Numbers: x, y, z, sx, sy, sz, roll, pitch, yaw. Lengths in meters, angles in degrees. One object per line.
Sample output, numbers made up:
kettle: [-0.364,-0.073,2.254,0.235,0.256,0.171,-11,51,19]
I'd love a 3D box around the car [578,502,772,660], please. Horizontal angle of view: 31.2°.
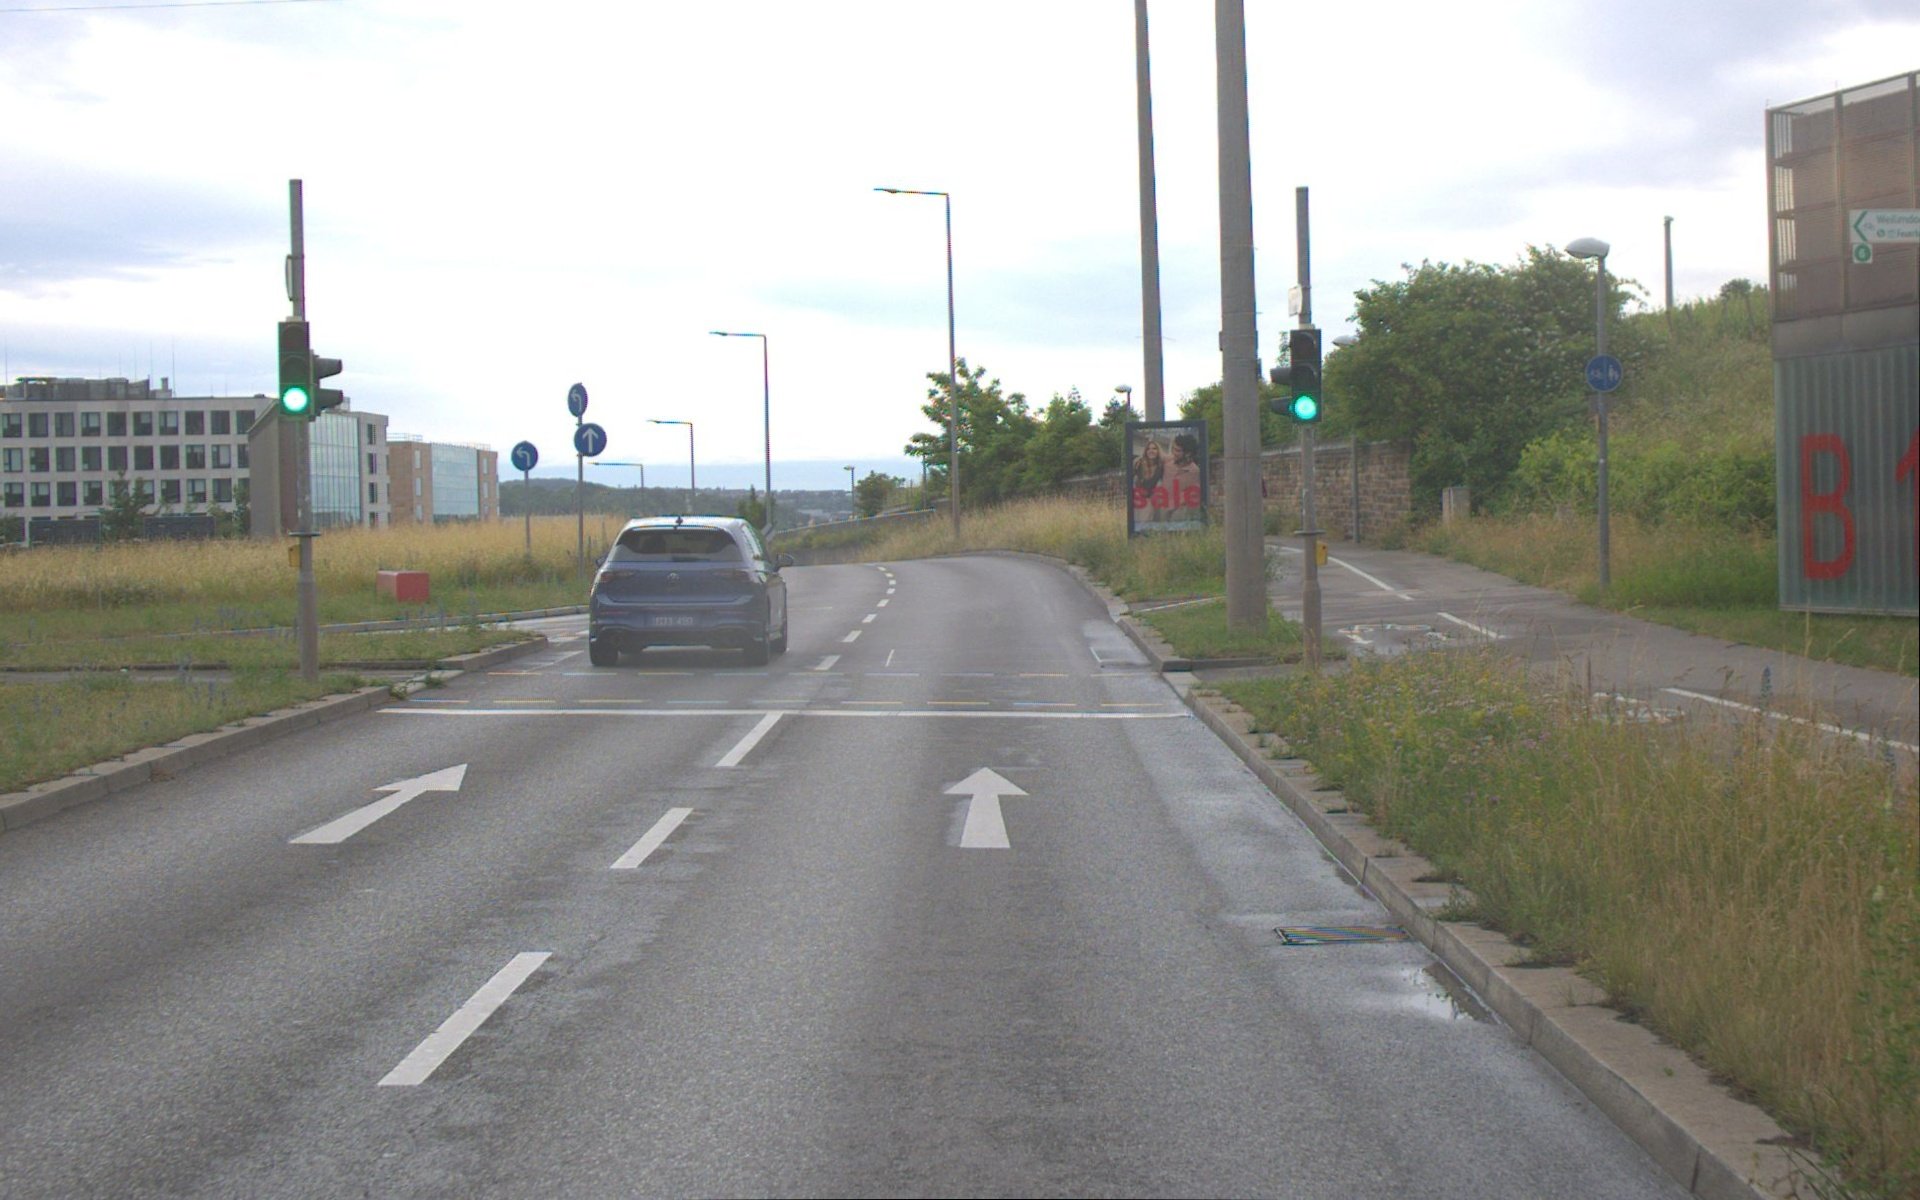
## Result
car: [-2.890,-0.239,34.736,1.837,1.388,4.001,0,3,-5]

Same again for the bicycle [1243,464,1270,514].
bicycle: [6.230,-2.335,72.282,0.551,1.064,0.615,0,2,2]

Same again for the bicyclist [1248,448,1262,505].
bicyclist: [6.197,-2.599,72.247,0.265,1.191,0.315,0,2,2]
